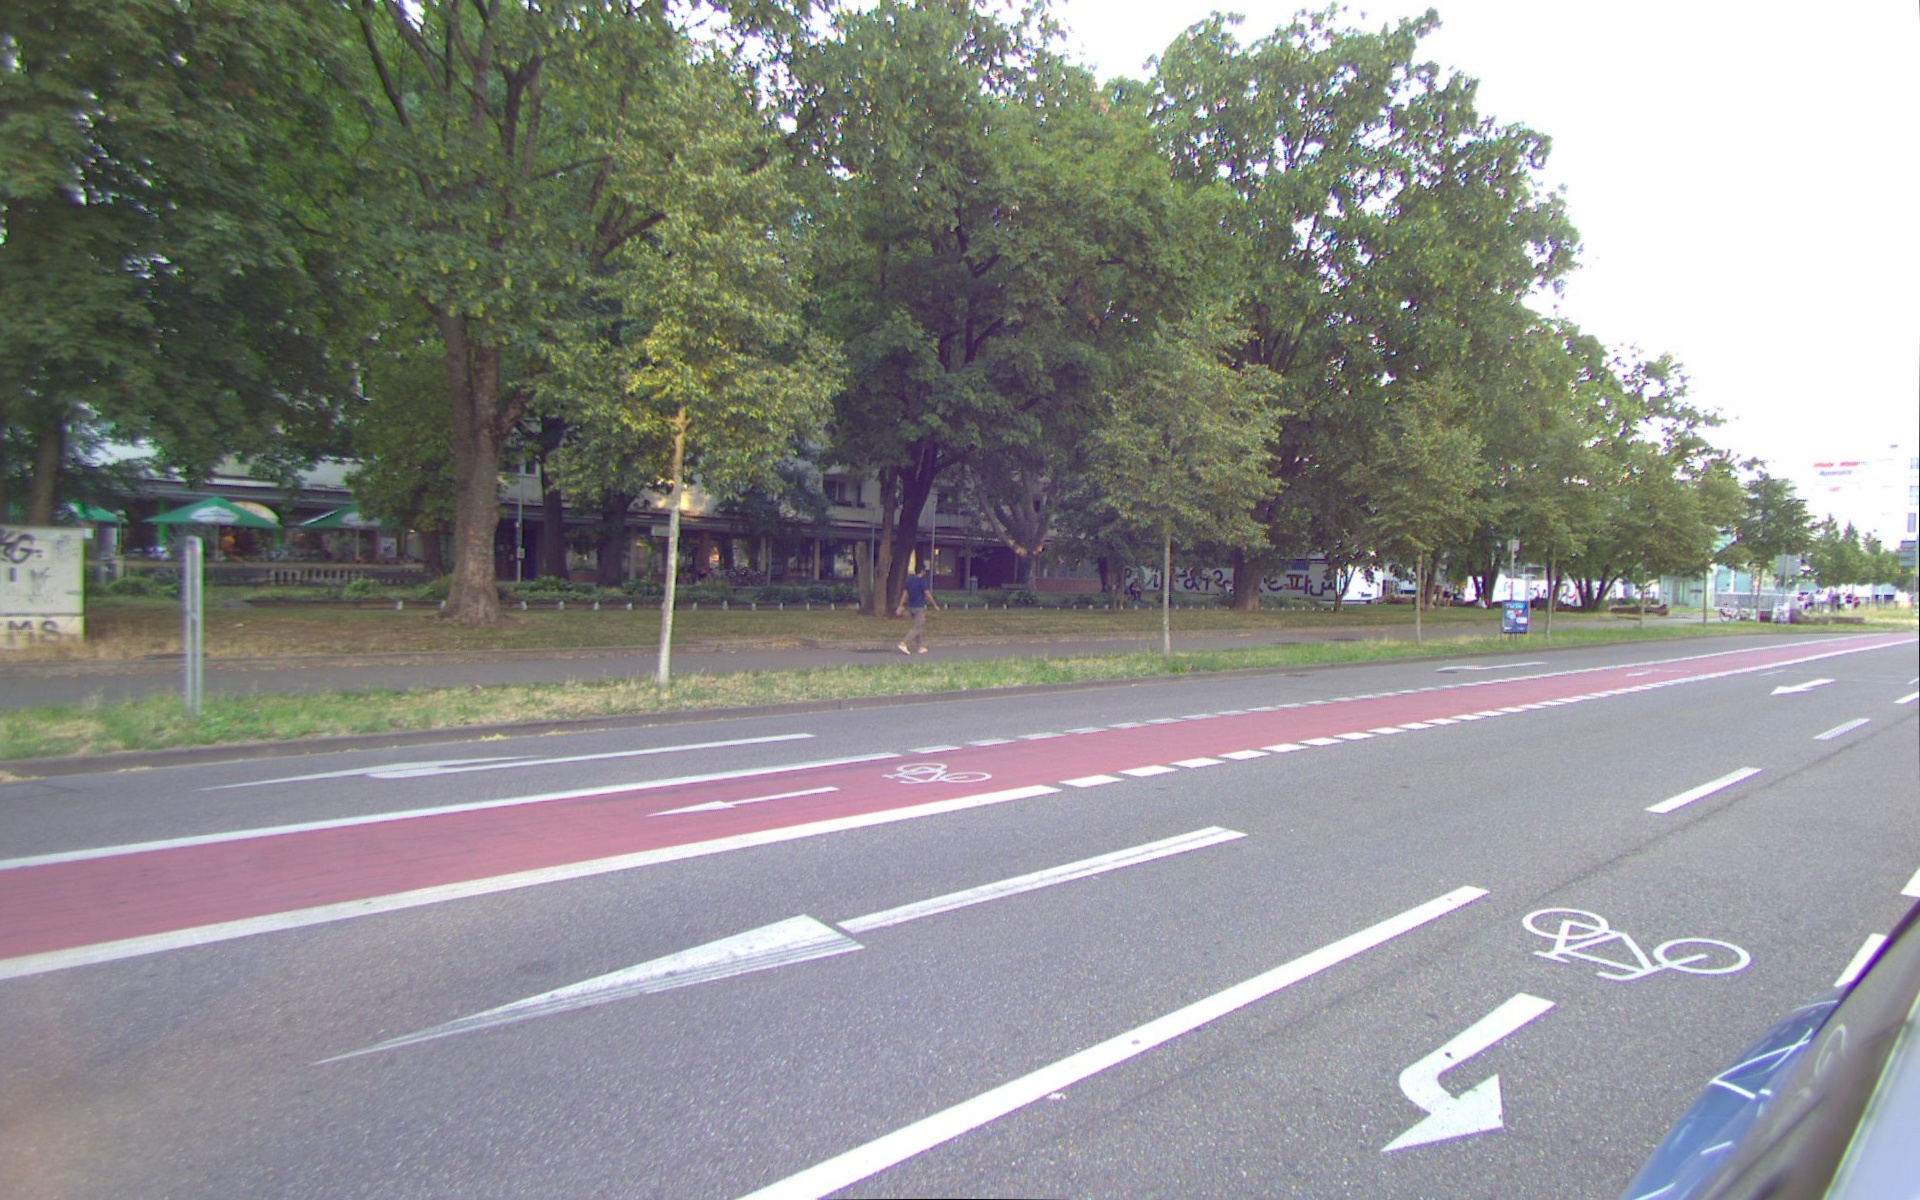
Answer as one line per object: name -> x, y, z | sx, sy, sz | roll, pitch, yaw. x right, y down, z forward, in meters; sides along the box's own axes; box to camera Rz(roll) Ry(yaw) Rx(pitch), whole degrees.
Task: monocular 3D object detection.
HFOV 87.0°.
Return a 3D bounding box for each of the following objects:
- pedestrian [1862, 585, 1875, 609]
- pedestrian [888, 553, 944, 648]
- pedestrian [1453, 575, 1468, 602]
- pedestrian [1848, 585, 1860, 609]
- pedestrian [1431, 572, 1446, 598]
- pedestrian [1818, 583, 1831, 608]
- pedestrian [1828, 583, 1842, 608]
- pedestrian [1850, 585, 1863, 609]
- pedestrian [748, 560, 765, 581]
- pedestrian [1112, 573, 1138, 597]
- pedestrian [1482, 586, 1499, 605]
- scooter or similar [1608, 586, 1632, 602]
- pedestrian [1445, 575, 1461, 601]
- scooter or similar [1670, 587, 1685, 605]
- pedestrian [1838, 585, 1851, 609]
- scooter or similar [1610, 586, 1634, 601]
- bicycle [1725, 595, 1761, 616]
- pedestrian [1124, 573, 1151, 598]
pedestrian -> 75.470, -0.222, 84.081 | 0.608, 1.957, 0.644 | 1, 2, -38
pedestrian -> -0.825, -0.005, 18.964 | 0.695, 1.714, 0.737 | 3, 2, 44
pedestrian -> 36.160, -0.854, 73.112 | 0.587, 1.943, 0.771 | 1, 1, -25
pedestrian -> 75.135, -0.252, 85.048 | 0.608, 1.957, 0.644 | 1, 2, -38
pedestrian -> 35.474, -1.090, 75.045 | 0.587, 1.879, 0.771 | 1, 1, -25
pedestrian -> 69.660, -0.358, 81.569 | 0.608, 1.957, 0.644 | 1, 2, -38
pedestrian -> 70.024, -0.335, 80.983 | 0.608, 1.957, 0.644 | 1, 2, -38
pedestrian -> 74.221, -0.257, 83.825 | 0.608, 1.957, 0.644 | 1, 2, -38
pedestrian -> -11.787, -1.687, 58.651 | 0.687, 1.178, 0.788 | 0, 2, -38
pedestrian -> 8.795, -0.797, 53.974 | 0.712, 1.276, 1.135 | 0, 2, -38
pedestrian -> 26.453, -0.239, 50.454 | 0.674, 0.895, 0.588 | 2, 2, 25
scooter or similar -> 54.822, -0.500, 84.095 | 0.466, 1.236, 1.571 | 0, 1, -42
pedestrian -> 36.443, -0.893, 74.796 | 0.587, 1.843, 0.771 | 1, 1, -25
scooter or similar -> 50.389, -0.275, 71.040 | 1.374, 1.235, 0.425 | 1, 4, -40
pedestrian -> 74.198, -0.278, 84.857 | 0.608, 1.957, 0.644 | 1, 2, -38
scooter or similar -> 55.384, -0.517, 84.673 | 0.466, 1.236, 1.571 | 0, 1, -42
bicycle -> 40.710, 0.306, 52.609 | 1.858, 1.017, 0.497 | 2, 4, -21
pedestrian -> 9.564, -0.782, 54.508 | 0.889, 1.276, 1.135 | 0, 2, -38
